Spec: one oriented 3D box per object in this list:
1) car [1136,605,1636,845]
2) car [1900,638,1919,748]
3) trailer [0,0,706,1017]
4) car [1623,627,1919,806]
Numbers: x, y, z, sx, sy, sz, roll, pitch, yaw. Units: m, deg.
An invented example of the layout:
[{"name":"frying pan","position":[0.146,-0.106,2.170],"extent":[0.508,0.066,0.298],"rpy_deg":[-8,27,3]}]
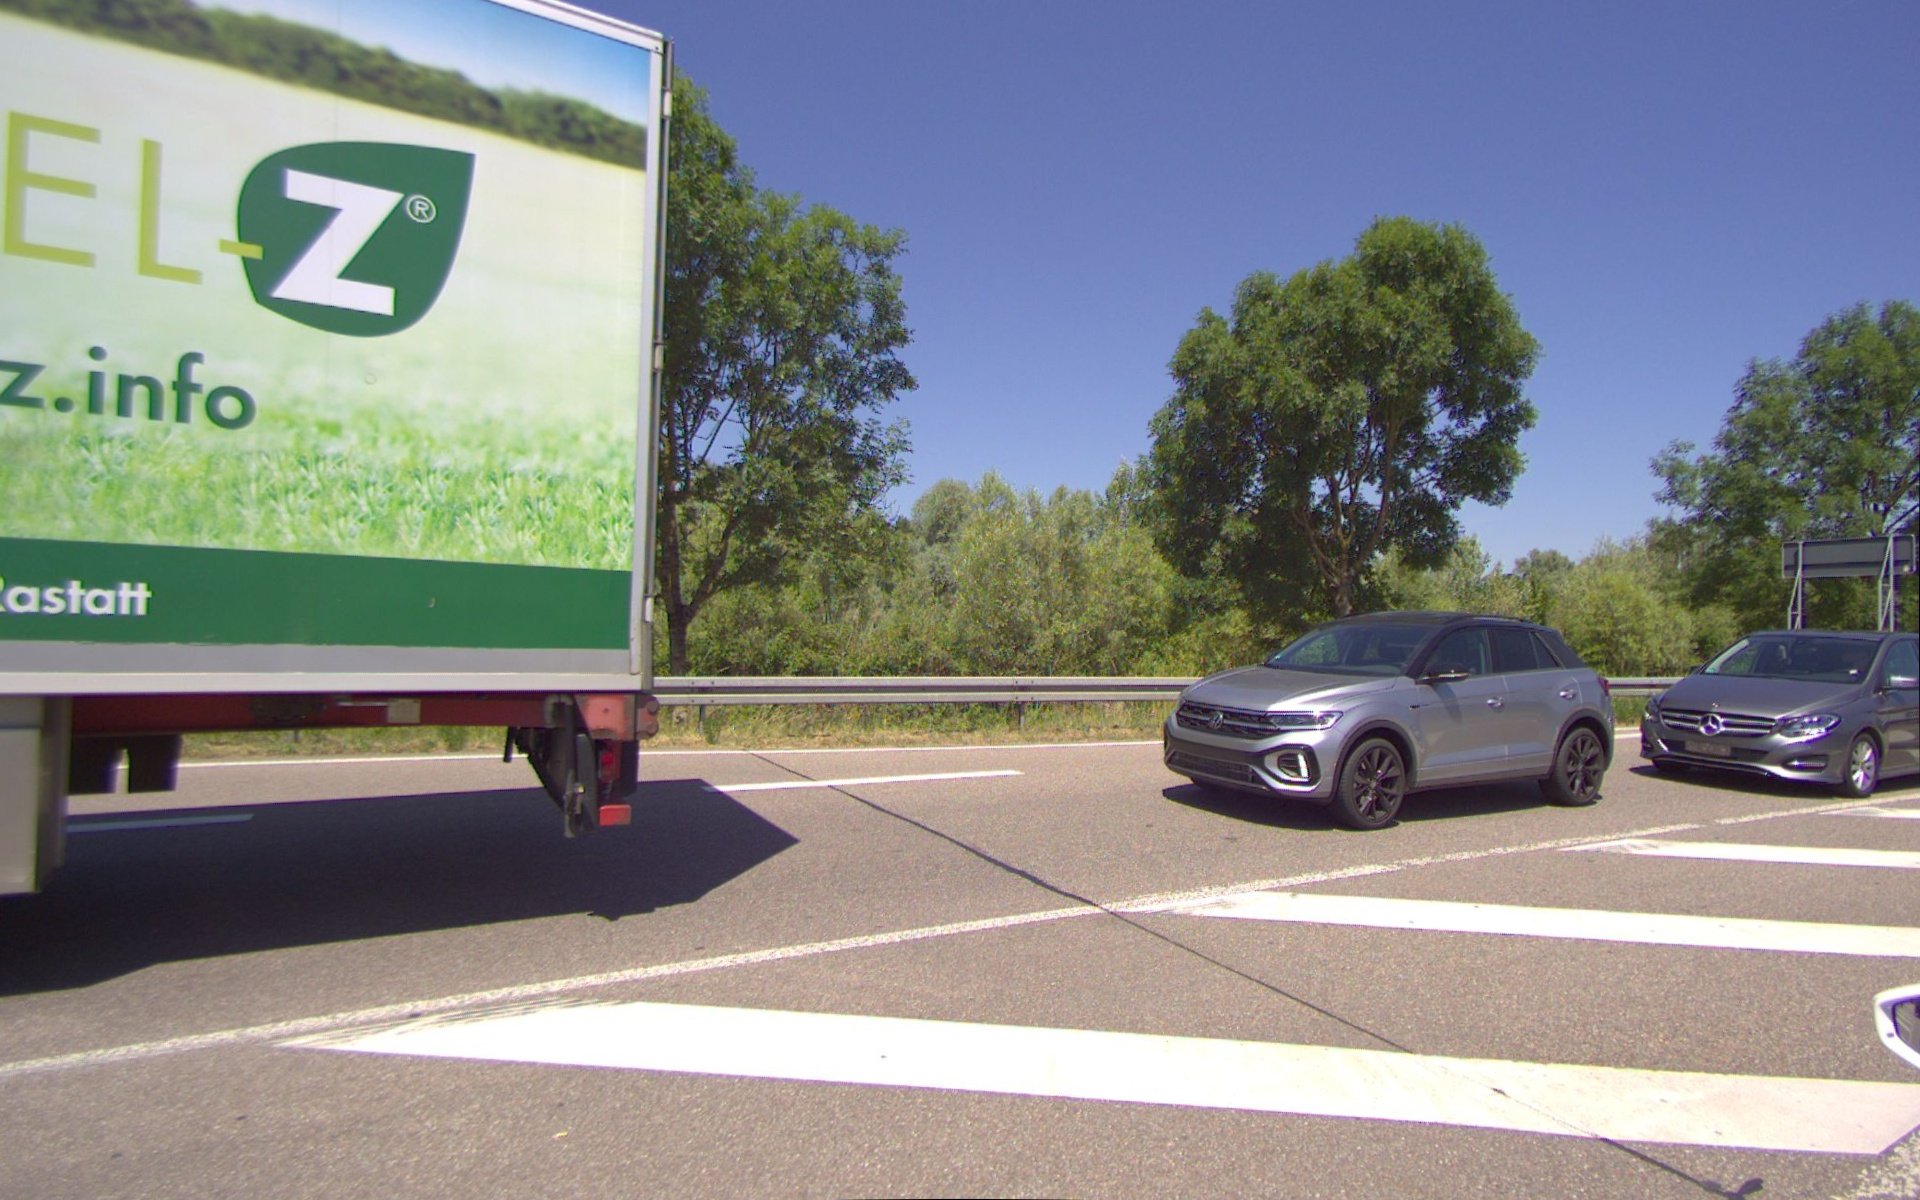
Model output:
[{"name":"car","position":[3.640,0.892,8.427],"extent":[4.104,1.582,1.704],"rpy_deg":[2,-1,-29]},{"name":"car","position":[15.360,1.331,14.168],"extent":[4.571,1.498,1.647],"rpy_deg":[2,0,-28]},{"name":"trailer","position":[-7.882,-0.815,2.176],"extent":[13.958,4.099,2.677],"rpy_deg":[2,0,-30]},{"name":"car","position":[9.030,1.090,10.489],"extent":[4.327,1.558,1.618],"rpy_deg":[2,-2,-27]}]
